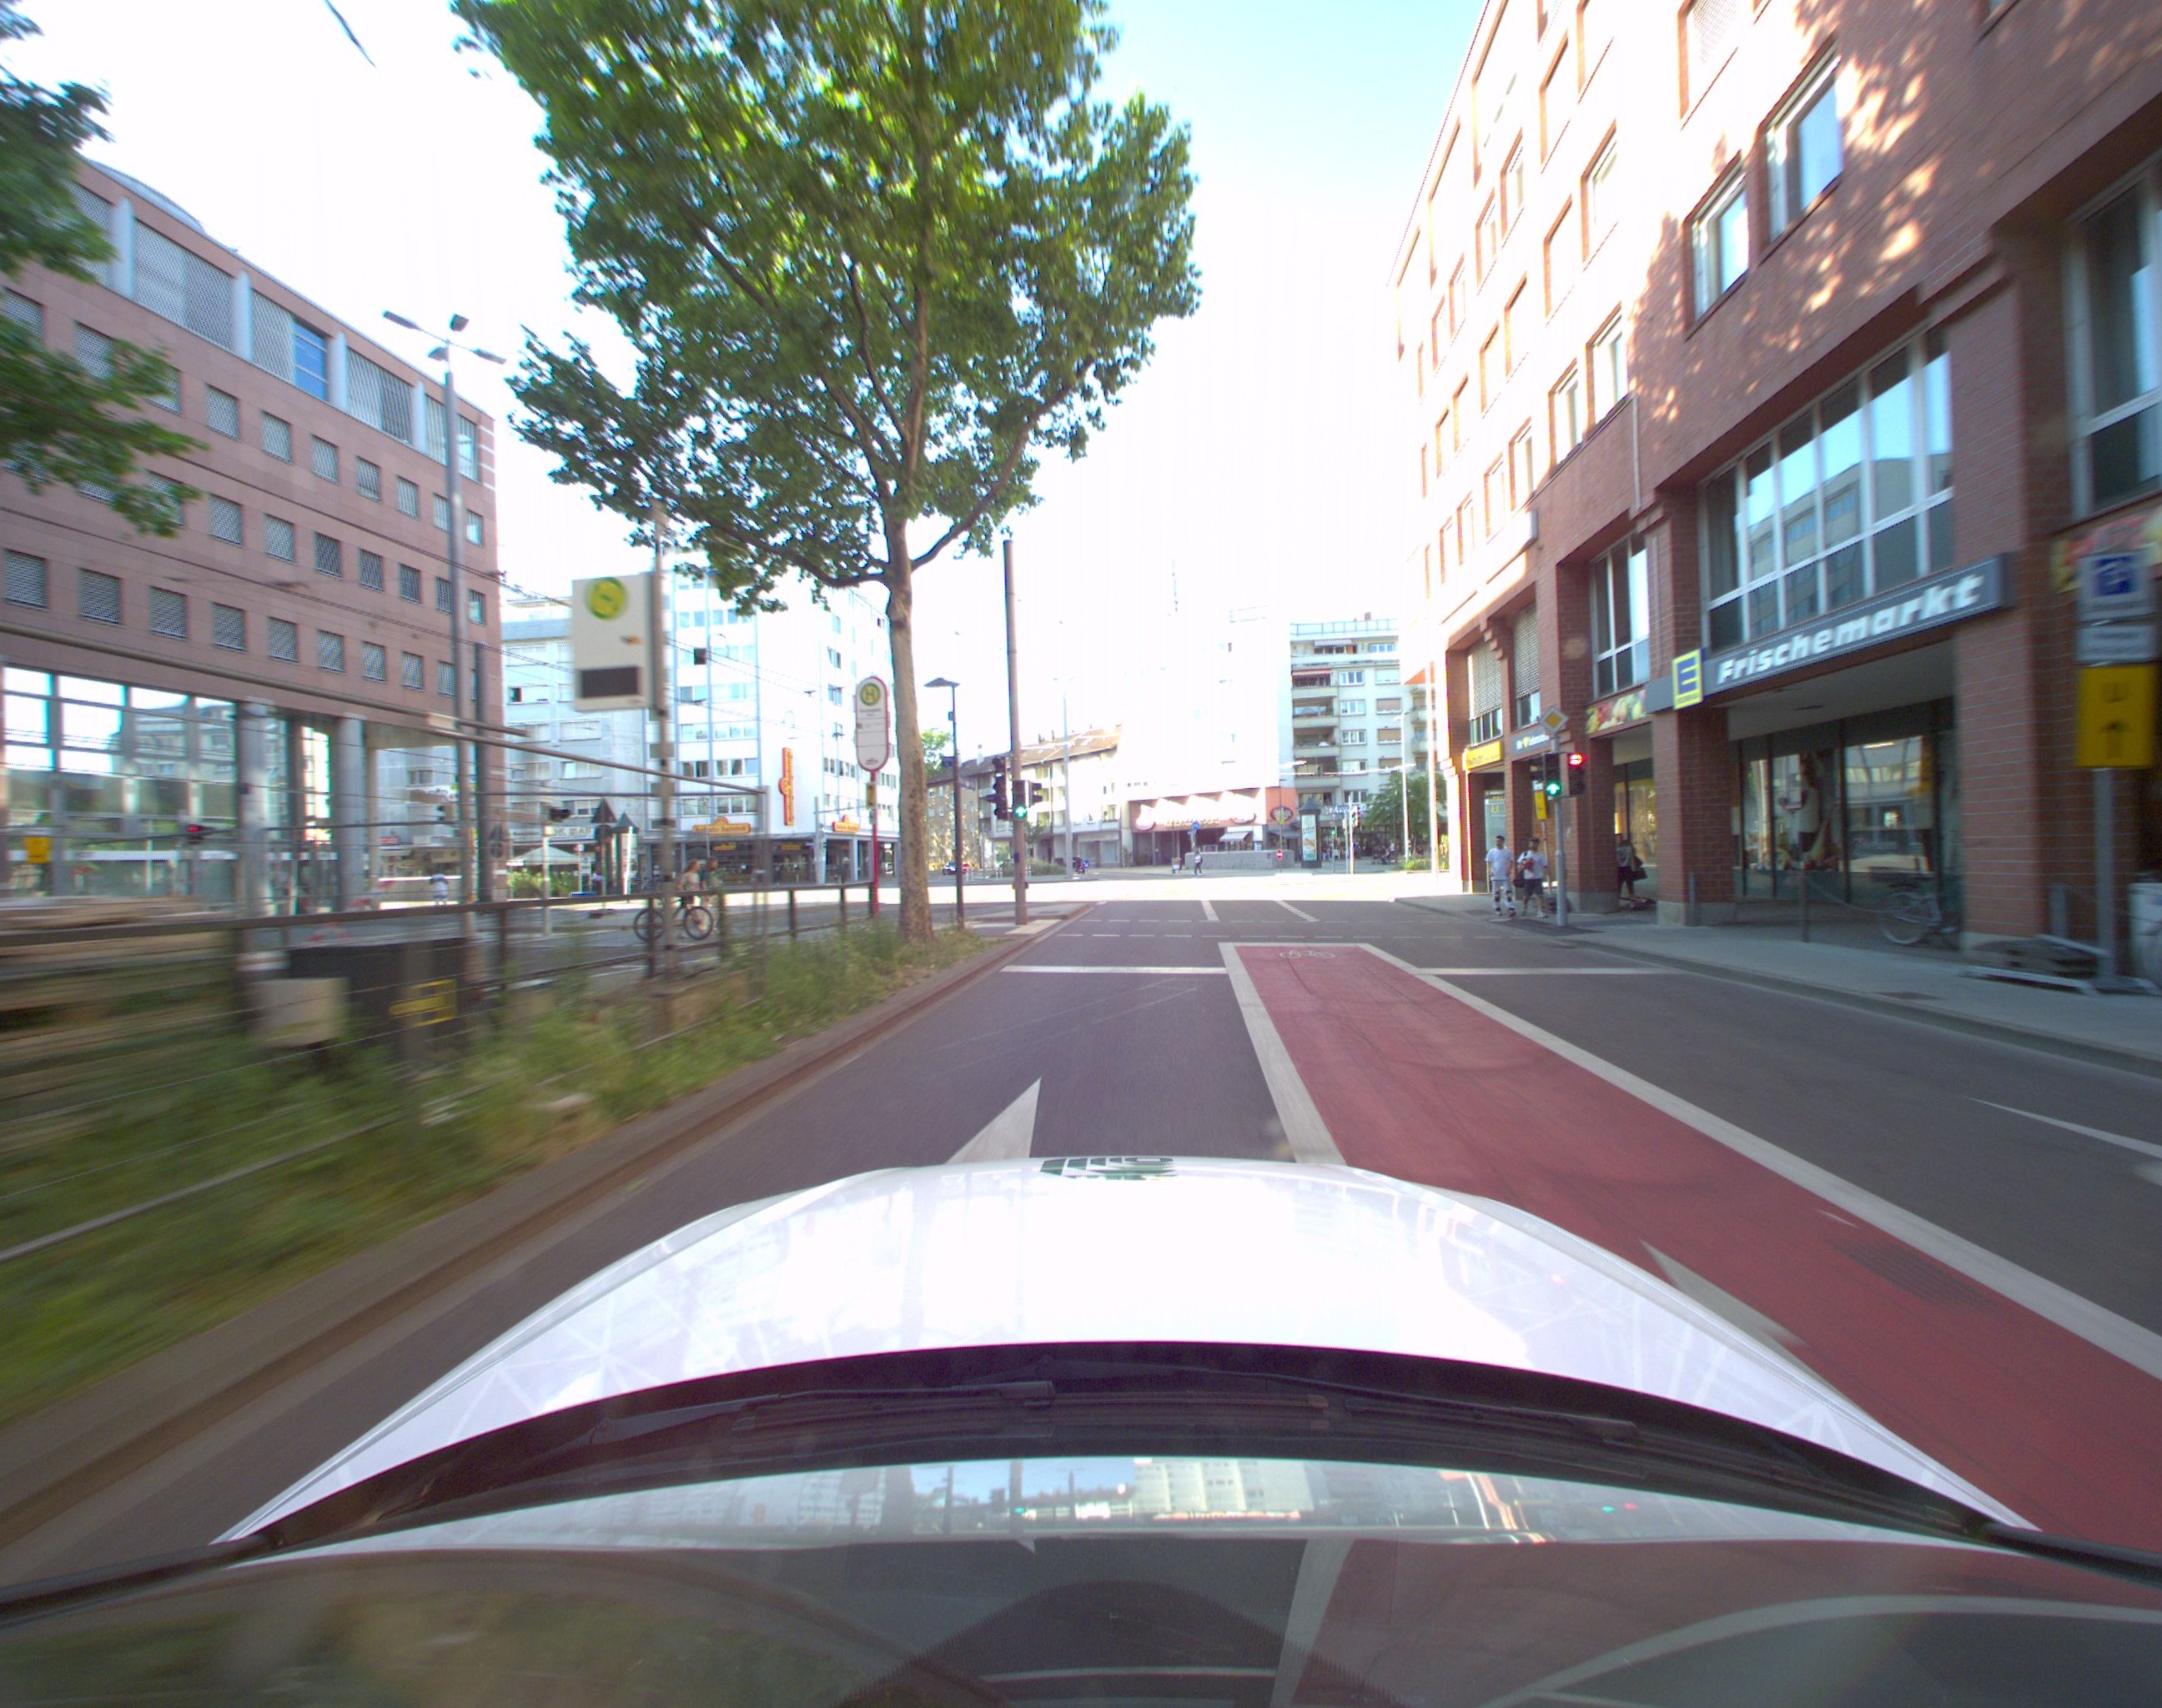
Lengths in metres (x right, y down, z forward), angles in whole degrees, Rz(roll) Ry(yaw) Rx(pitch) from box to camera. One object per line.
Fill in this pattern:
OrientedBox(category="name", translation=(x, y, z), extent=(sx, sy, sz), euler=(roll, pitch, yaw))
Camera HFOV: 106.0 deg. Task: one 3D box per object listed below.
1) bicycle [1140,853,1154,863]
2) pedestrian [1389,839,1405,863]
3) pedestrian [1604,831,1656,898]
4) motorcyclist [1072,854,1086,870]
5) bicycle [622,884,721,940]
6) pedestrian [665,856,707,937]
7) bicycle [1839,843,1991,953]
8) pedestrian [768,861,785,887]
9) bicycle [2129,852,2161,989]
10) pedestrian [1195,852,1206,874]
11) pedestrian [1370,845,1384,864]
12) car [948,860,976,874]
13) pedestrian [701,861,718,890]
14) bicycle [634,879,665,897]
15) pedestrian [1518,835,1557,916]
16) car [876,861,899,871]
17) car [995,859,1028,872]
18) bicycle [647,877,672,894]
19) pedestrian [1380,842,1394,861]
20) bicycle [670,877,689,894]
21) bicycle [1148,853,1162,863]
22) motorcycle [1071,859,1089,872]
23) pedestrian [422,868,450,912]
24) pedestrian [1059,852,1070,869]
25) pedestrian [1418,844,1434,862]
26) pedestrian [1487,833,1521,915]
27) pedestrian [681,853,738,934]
OrientedBox(category="bicycle", translation=(7.022, 0.452, 86.603), extent=(0.498, 1.038, 1.620), euler=(-1, 0, -37))
OrientedBox(category="pedestrian", translation=(25.736, -0.239, 66.285), extent=(1.035, 1.866, 0.689), euler=(-2, -1, 9))
OrientedBox(category="pedestrian", translation=(13.388, 0.242, 19.857), extent=(0.849, 1.590, 0.747), euler=(-1, -1, -33))
OrientedBox(category="motorcyclist", translation=(-0.165, 0.719, 70.730), extent=(0.971, 1.347, 1.133), euler=(0, 0, -13))
OrientedBox(category="bicycle", translation=(-8.364, 1.185, 16.642), extent=(1.819, 1.078, 0.482), euler=(-2, -1, 8))
OrientedBox(category="pedestrian", translation=(-8.316, 0.884, 17.160), extent=(0.563, 1.680, 0.532), euler=(-2, -1, 8))
OrientedBox(category="bicycle", translation=(10.376, 0.509, 10.215), extent=(0.337, 1.256, 1.714), euler=(-2, 0, 9))
OrientedBox(category="pedestrian", translation=(-20.842, 1.379, 55.795), extent=(0.800, 1.724, 0.778), euler=(-1, -1, 8))
OrientedBox(category="bicycle", translation=(9.413, 0.575, 6.410), extent=(0.337, 1.183, 1.682), euler=(-2, 0, 9))
OrientedBox(category="pedestrian", translation=(8.795, 0.641, 60.109), extent=(0.543, 1.583, 0.551), euler=(-1, -1, -36))
OrientedBox(category="pedestrian", translation=(23.353, 0.051, 64.211), extent=(0.712, 1.446, 0.935), euler=(-1, 0, 44))
OrientedBox(category="car", translation=(-12.393, 1.355, 85.167), extent=(1.824, 1.386, 4.601), euler=(-2, -1, 4))
OrientedBox(category="pedestrian", translation=(-23.147, 1.316, 50.755), extent=(0.624, 1.791, 0.787), euler=(-2, 0, 8))
OrientedBox(category="bicycle", translation=(-27.979, 2.185, 52.817), extent=(0.591, 1.053, 2.012), euler=(-1, 0, 11))
OrientedBox(category="pedestrian", translation=(9.903, 0.458, 17.669), extent=(0.627, 1.725, 0.634), euler=(-2, -1, 35))
OrientedBox(category="car", translation=(-31.293, 1.929, 131.544), extent=(2.049, 1.504, 4.047), euler=(-2, 0, -38))
OrientedBox(category="car", translation=(-7.622, 1.249, 89.394), extent=(1.937, 1.388, 3.958), euler=(-1, 0, -33))
OrientedBox(category="bicycle", translation=(-27.005, 2.009, 52.246), extent=(0.593, 1.053, 2.005), euler=(-1, 0, -1))
OrientedBox(category="pedestrian", translation=(23.818, -0.172, 63.334), extent=(0.711, 1.420, 0.935), euler=(-1, 0, 39))
OrientedBox(category="bicycle", translation=(-25.951, 2.022, 52.657), extent=(0.595, 1.053, 1.999), euler=(-1, 0, -11))
OrientedBox(category="bicycle", translation=(7.917, 0.468, 86.926), extent=(0.498, 1.038, 1.620), euler=(-1, 0, -37))
OrientedBox(category="motorcycle", translation=(-0.111, 0.986, 70.554), extent=(0.974, 1.132, 2.793), euler=(0, 0, -12))
OrientedBox(category="pedestrian", translation=(-24.762, 1.376, 31.248), extent=(0.634, 1.618, 0.728), euler=(-2, -1, 42))
OrientedBox(category="pedestrian", translation=(-1.865, 0.714, 91.582), extent=(0.737, 1.854, 0.937), euler=(-4, 1, -38))
OrientedBox(category="pedestrian", translation=(25.937, -0.066, 61.296), extent=(0.716, 1.365, 1.108), euler=(-1, 0, -1))
OrientedBox(category="pedestrian", translation=(9.459, 0.449, 18.232), extent=(0.473, 1.792, 0.542), euler=(-1, 0, 7))
OrientedBox(category="pedestrian", translation=(-8.185, 0.854, 17.980), extent=(0.774, 1.734, 0.849), euler=(-2, -1, 4))
